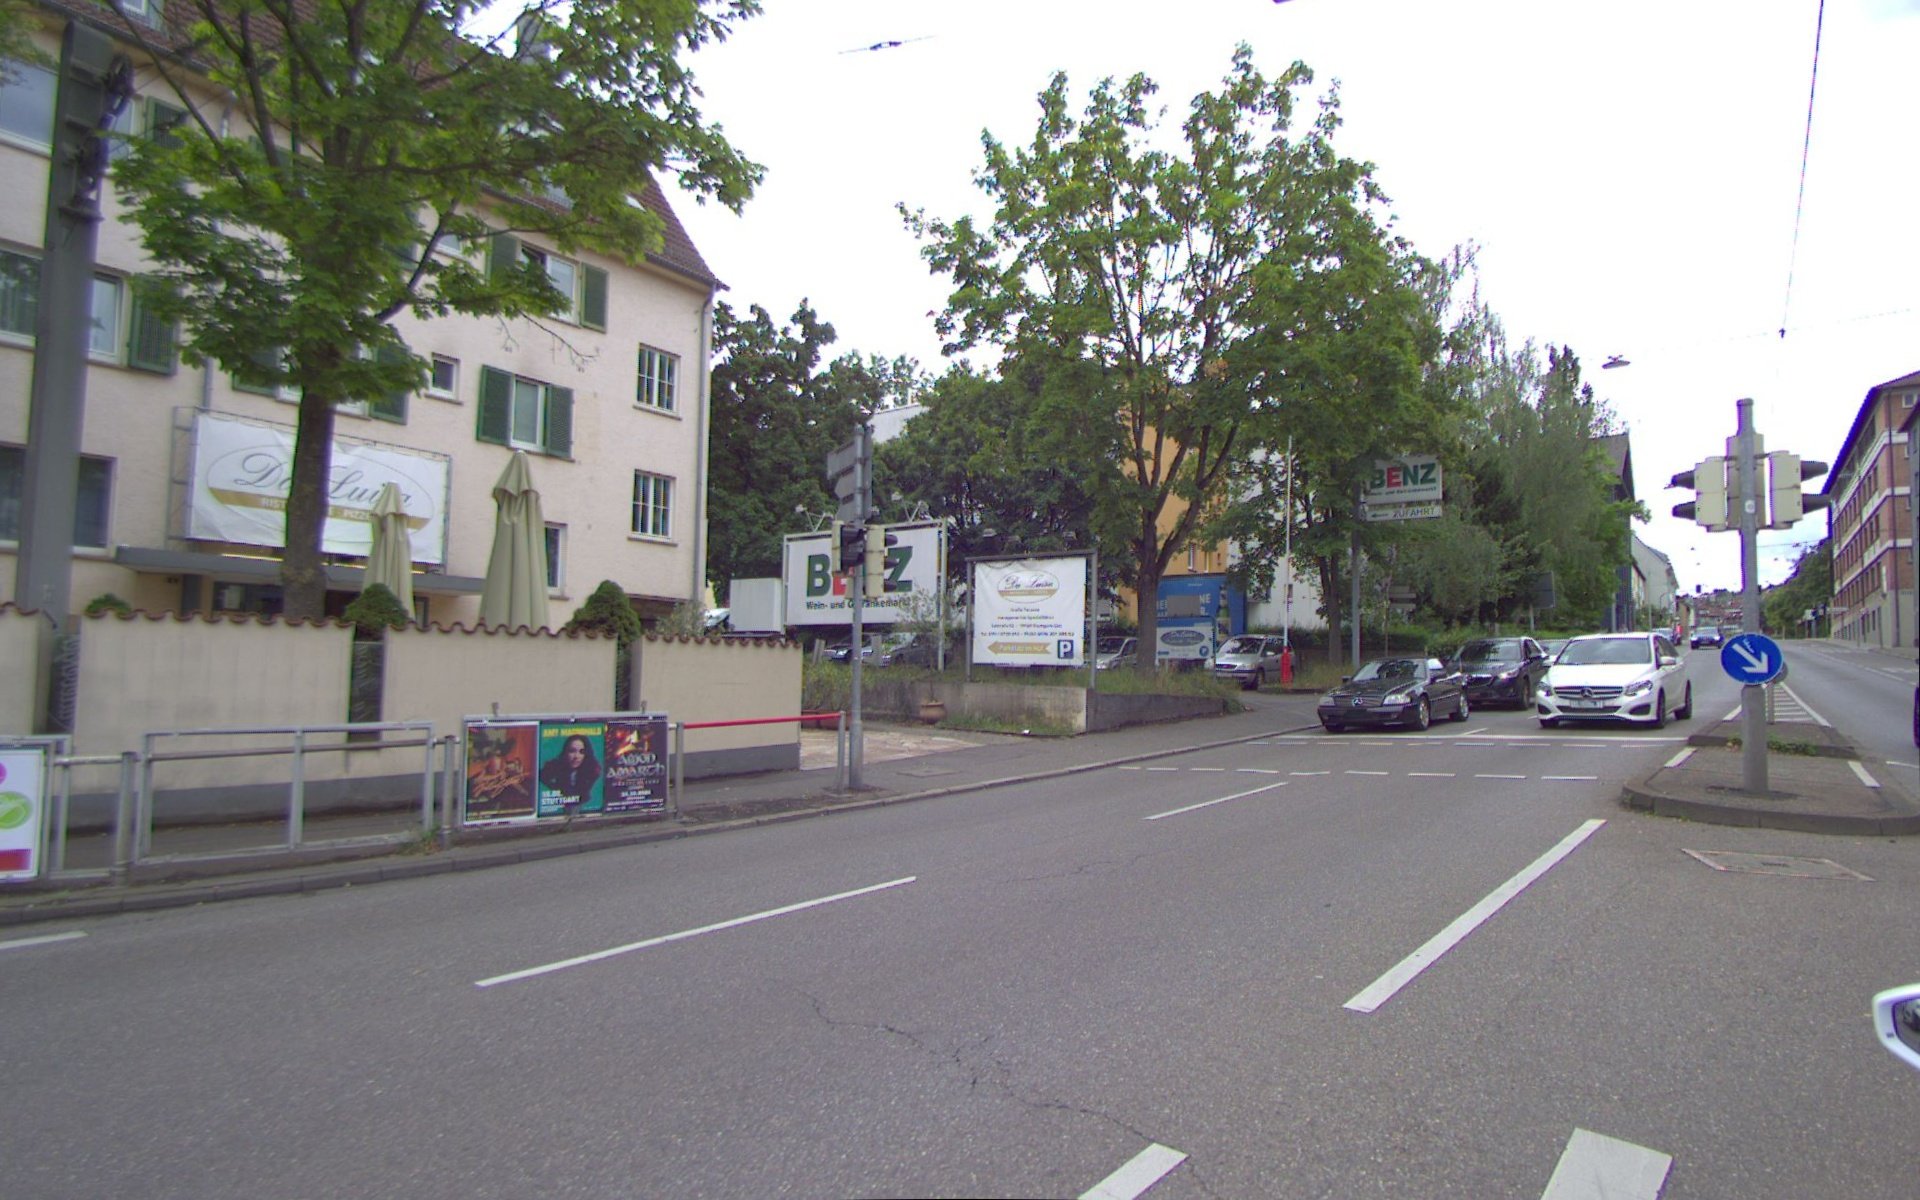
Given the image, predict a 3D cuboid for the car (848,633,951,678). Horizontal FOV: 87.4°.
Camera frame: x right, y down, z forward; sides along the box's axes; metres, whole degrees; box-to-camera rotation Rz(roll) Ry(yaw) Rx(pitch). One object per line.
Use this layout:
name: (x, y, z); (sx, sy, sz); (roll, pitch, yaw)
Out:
car: (-2.268, 2.121, 38.744); (1.892, 1.630, 3.917); (-1, -2, 37)

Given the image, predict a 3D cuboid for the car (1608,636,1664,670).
car: (31.450, 2.455, 46.674); (1.817, 1.466, 4.294); (-4, -4, 37)

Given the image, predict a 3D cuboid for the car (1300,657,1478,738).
car: (8.243, 1.809, 19.090); (1.783, 1.297, 4.213); (-6, -6, 42)

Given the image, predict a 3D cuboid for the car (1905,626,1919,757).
car: (12.793, 1.146, 11.905); (2.000, 1.663, 4.337); (0, -2, 39)

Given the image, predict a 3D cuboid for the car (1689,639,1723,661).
car: (53.408, 3.591, 71.922); (1.817, 1.466, 4.294); (-4, -4, 37)

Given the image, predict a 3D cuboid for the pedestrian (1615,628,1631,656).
pedestrian: (48.089, 3.060, 72.884); (0.871, 1.976, 0.864); (1, -1, 37)

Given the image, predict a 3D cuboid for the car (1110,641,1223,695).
car: (6.515, 2.087, 31.447); (1.688, 1.521, 3.980); (1, -1, 41)

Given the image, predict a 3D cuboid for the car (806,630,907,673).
car: (-4.106, 2.056, 40.375); (1.892, 1.630, 3.917); (-1, -2, 37)

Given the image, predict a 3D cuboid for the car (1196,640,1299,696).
car: (8.808, 2.014, 30.576); (1.685, 1.521, 3.985); (2, -1, 37)

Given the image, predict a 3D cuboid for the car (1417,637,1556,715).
car: (12.547, 1.770, 23.808); (1.930, 1.663, 4.392); (-6, -5, 40)

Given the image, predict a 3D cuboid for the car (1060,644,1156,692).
car: (5.010, 2.224, 33.637); (1.683, 1.429, 3.990); (2, -1, 32)

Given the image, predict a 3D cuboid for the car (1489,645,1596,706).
car: (17.350, 2.209, 29.814); (1.929, 1.614, 4.477); (-6, -5, 40)

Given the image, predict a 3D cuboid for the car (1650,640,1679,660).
car: (56.021, 3.970, 79.807); (1.693, 1.442, 3.974); (-5, -4, 37)

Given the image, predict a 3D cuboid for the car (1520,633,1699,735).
car: (11.543, 1.424, 17.726); (1.758, 1.566, 4.298); (-6, -6, 44)

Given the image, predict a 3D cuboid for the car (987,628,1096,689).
car: (2.865, 1.988, 34.683); (1.802, 1.927, 3.983); (1, -1, 39)

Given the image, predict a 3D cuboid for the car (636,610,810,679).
car: (-6.788, 1.272, 29.327); (2.031, 1.827, 4.897); (-1, -2, 33)
